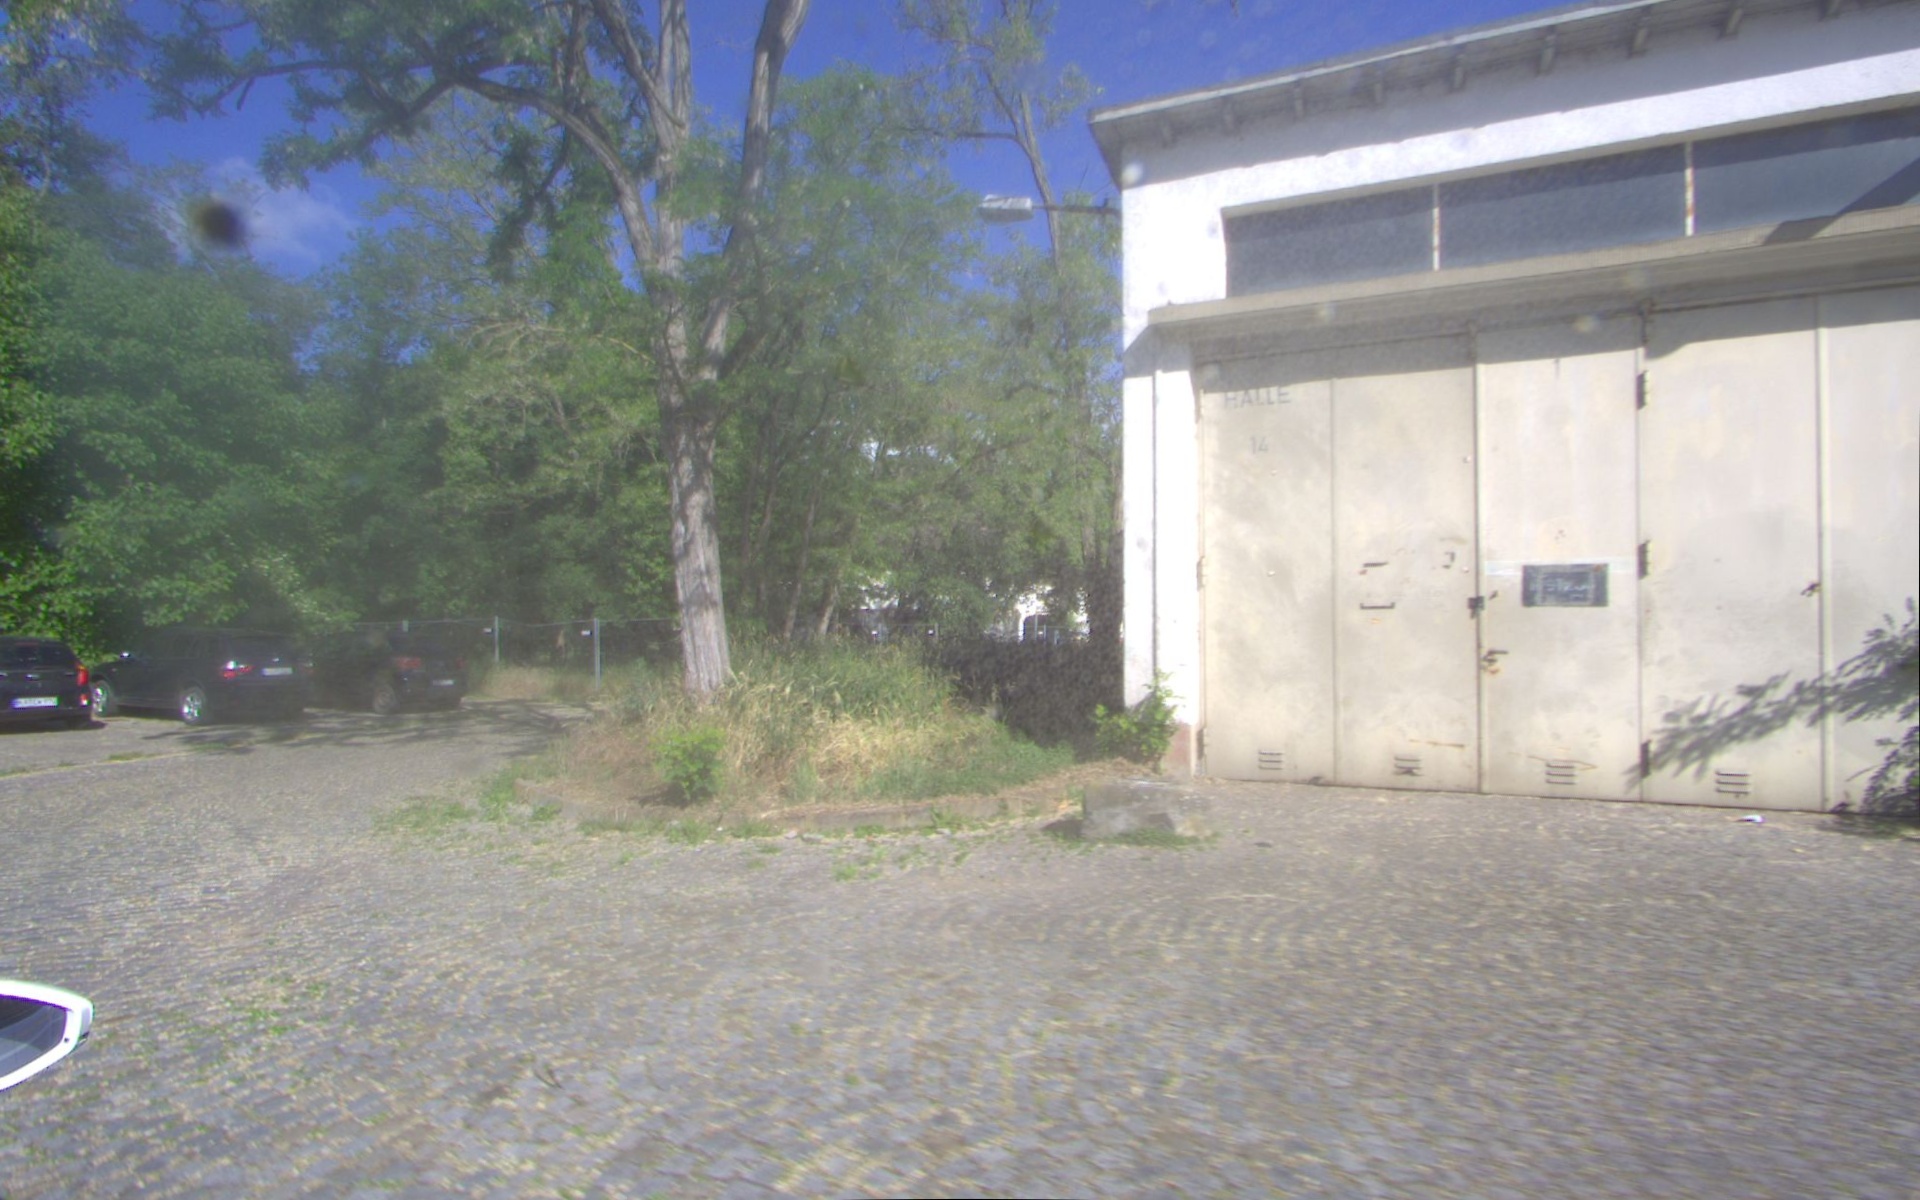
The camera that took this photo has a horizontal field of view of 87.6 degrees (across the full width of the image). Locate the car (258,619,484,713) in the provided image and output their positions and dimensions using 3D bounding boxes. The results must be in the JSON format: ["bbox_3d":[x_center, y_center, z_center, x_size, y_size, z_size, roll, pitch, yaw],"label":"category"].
[{"bbox_3d":[-12.467,1.335,21.230,4.197,1.610,1.827,3,0,20],"label":"car"}]

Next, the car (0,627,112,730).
[{"bbox_3d":[-15.505,1.190,16.053,3.668,1.469,1.738,0,-2,30],"label":"car"}]

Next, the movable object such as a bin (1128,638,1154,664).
[{"bbox_3d":[10.215,2.851,56.371,1.269,1.444,1.031,-1,-2,20],"label":"movable object such as a bin"}]

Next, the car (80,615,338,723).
[{"bbox_3d":[-13.816,1.209,18.432,4.200,1.652,1.877,2,-2,23],"label":"car"}]

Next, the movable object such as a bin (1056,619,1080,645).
[{"bbox_3d":[6.252,1.861,57.831,1.070,1.456,1.053,-1,-2,26],"label":"movable object such as a bin"}]
